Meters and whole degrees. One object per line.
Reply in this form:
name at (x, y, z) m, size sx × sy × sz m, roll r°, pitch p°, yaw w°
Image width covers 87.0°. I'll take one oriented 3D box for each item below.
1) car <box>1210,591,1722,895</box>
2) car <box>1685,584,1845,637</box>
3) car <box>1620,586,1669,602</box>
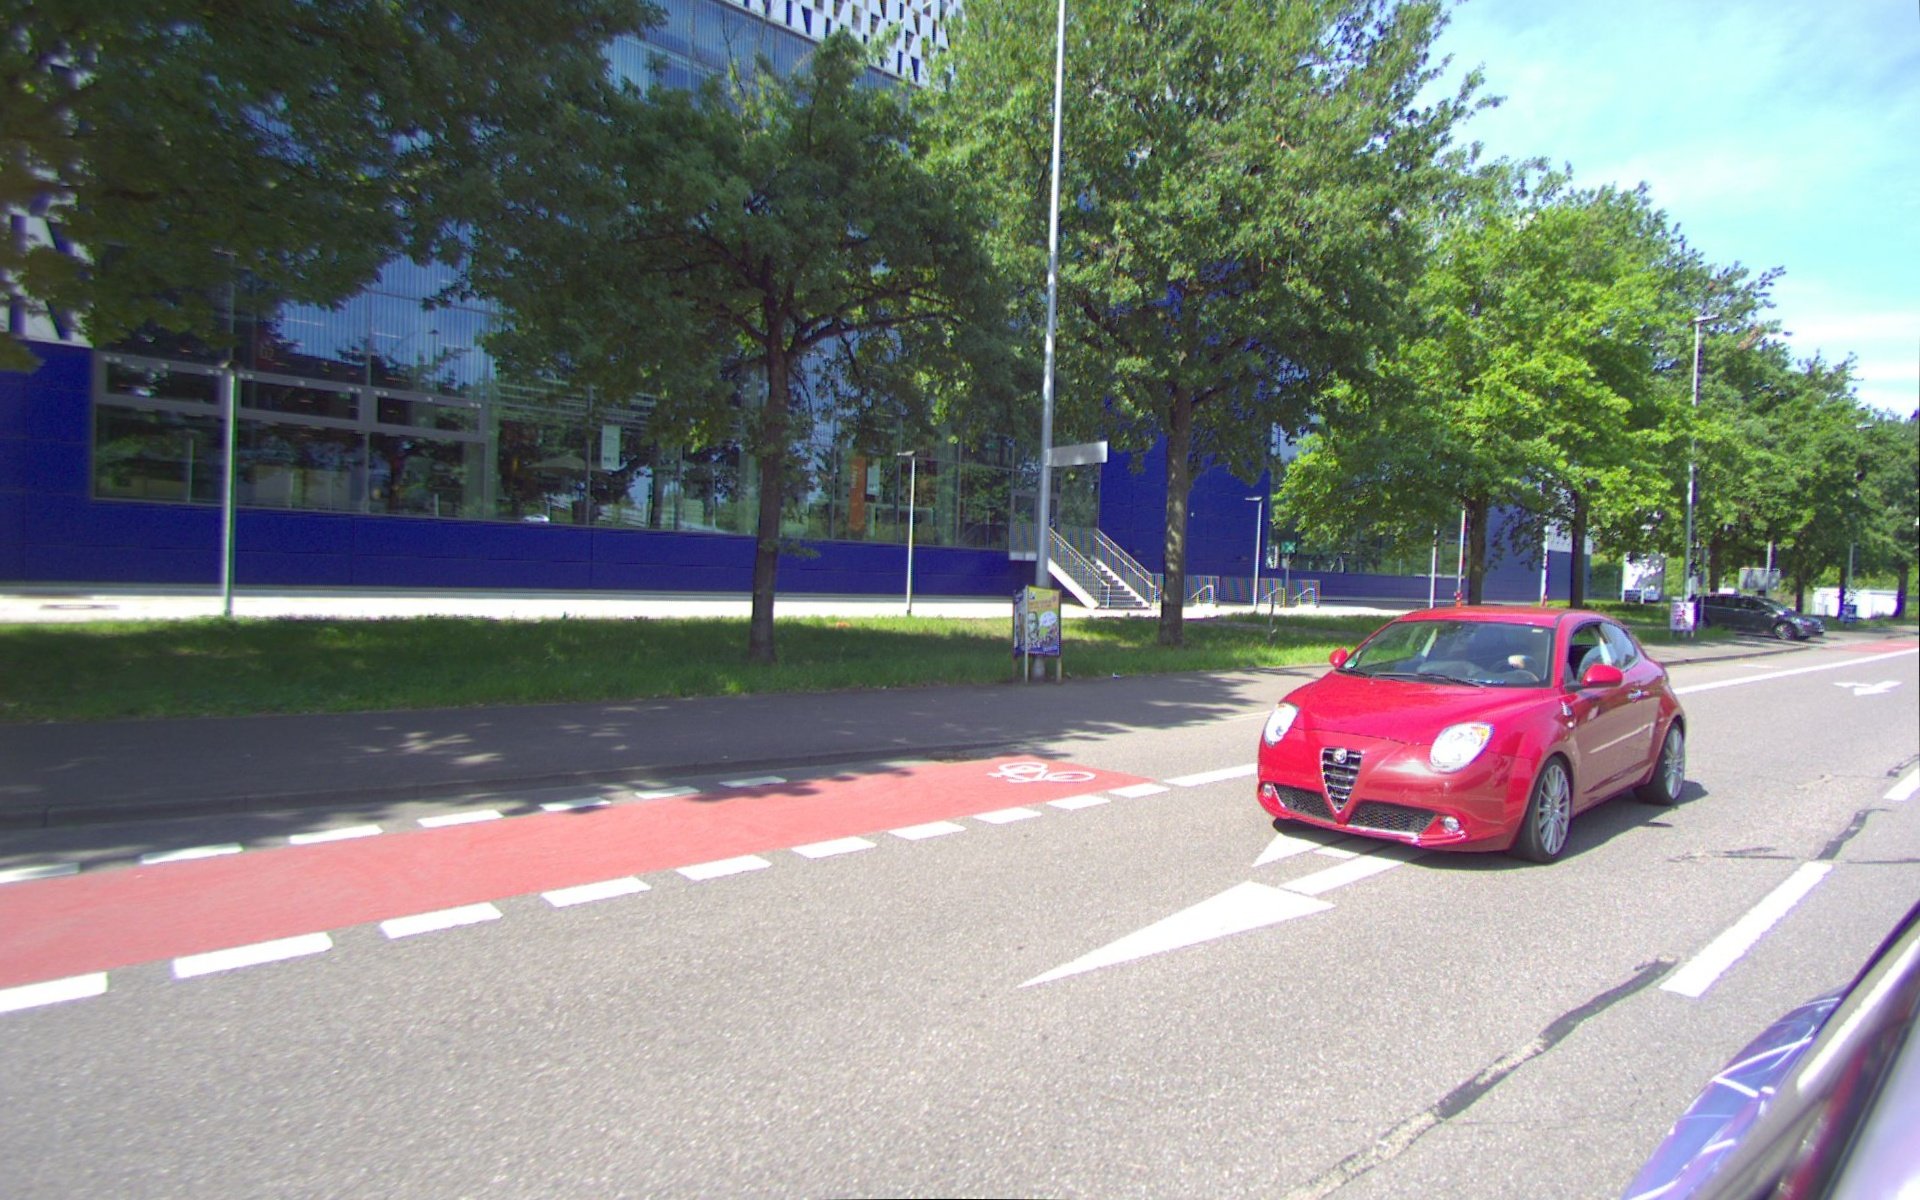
car at (3.640, 0.690, 6.984) m, size 3.910 × 1.472 × 1.797 m, roll 0°, pitch 2°, yaw -41°
car at (31.153, 0.348, 39.312) m, size 1.808 × 1.714 × 4.463 m, roll 1°, pitch 3°, yaw -33°
car at (74.163, -0.618, 109.676) m, size 1.818 × 1.660 × 4.312 m, roll 1°, pitch 1°, yaw -11°
